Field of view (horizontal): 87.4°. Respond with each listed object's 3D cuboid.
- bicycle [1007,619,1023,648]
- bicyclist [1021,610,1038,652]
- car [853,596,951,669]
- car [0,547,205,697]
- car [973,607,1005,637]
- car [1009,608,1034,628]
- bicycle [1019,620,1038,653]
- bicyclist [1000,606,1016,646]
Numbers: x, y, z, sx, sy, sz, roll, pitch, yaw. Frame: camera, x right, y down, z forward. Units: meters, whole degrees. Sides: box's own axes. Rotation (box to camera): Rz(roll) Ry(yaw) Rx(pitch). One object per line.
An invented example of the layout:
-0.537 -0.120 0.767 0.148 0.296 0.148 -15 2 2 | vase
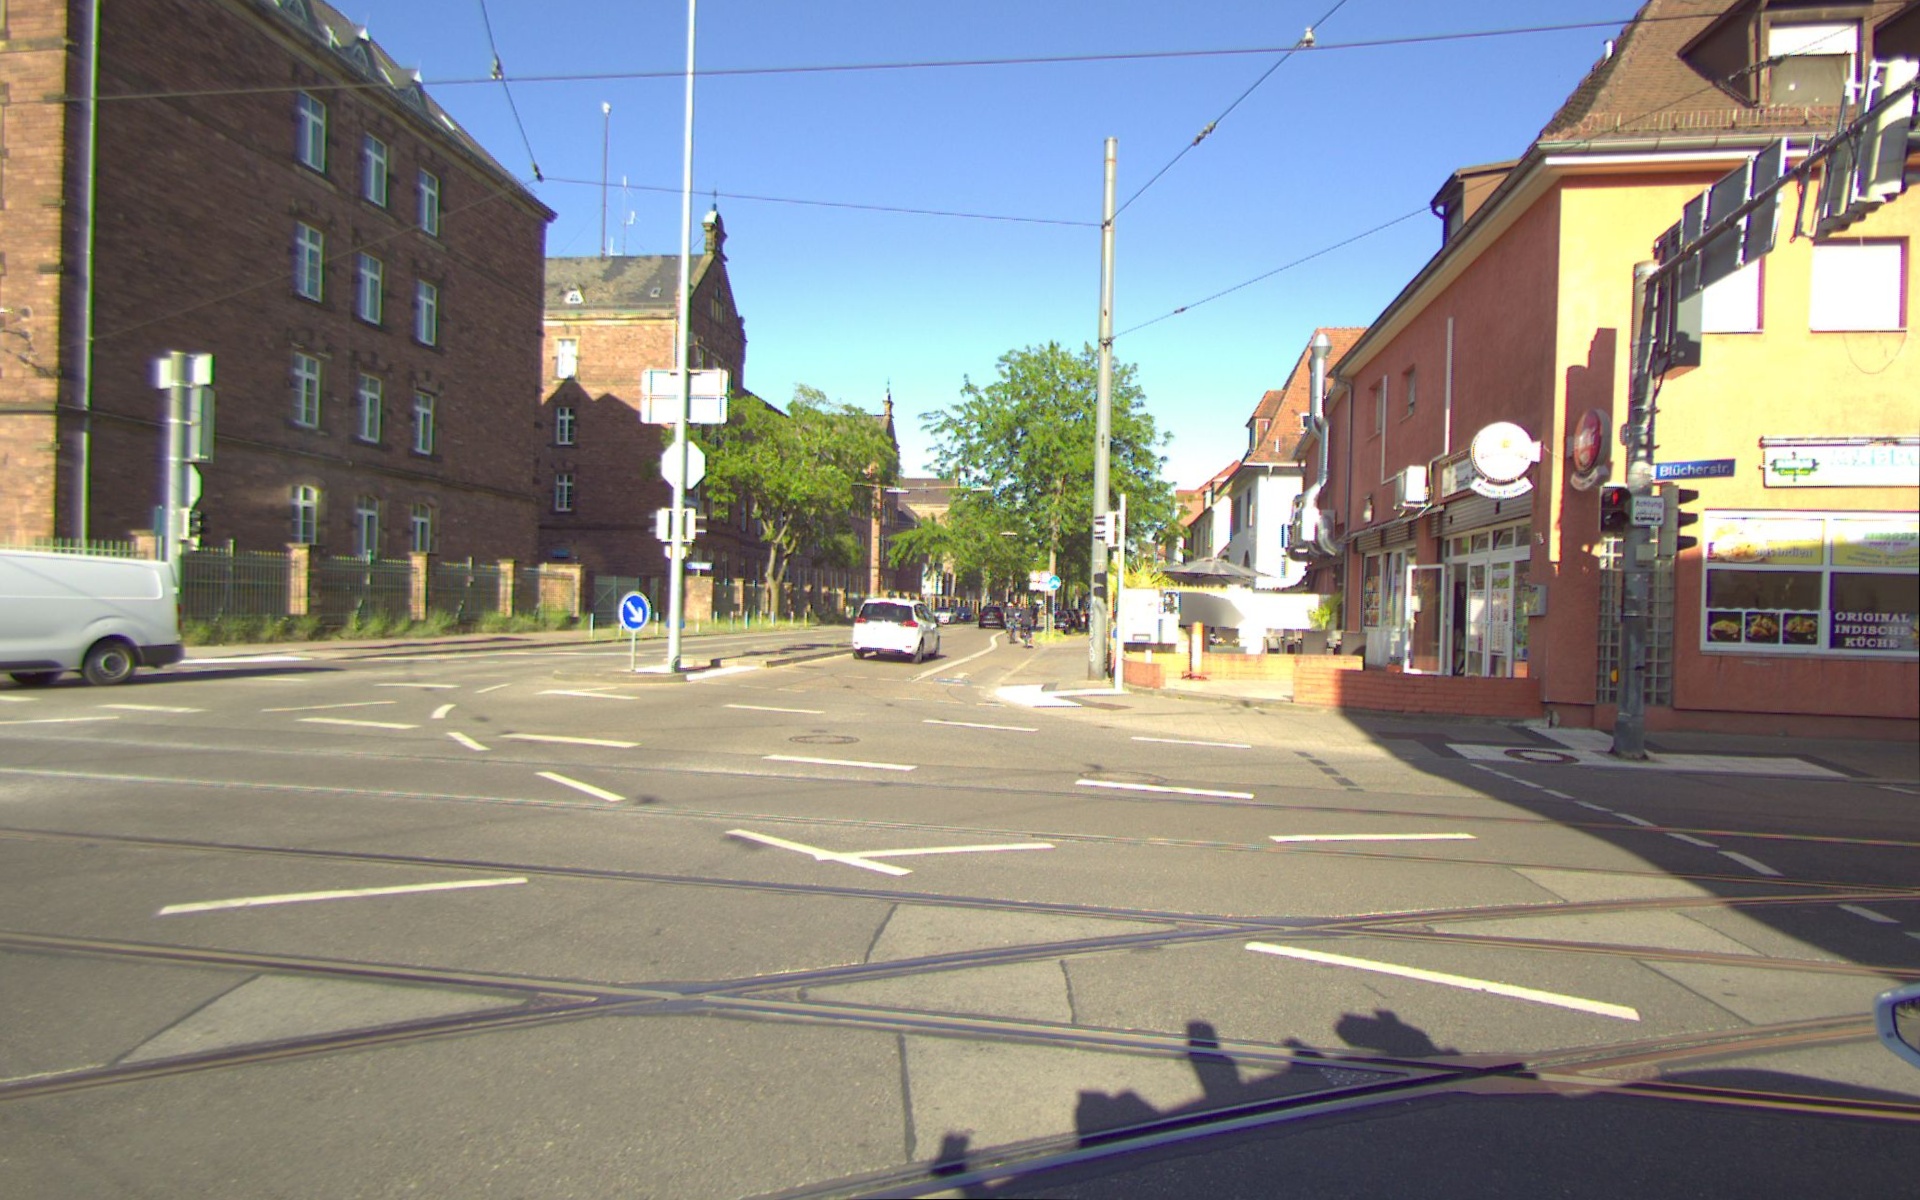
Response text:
2.420 1.445 44.162 0.463 1.205 1.997 2 0 8 | bicycle
2.755 1.221 39.869 0.544 1.639 0.686 2 1 8 | bicyclist
-1.489 0.820 27.553 1.930 1.687 4.251 4 1 6 | car
-13.554 0.274 13.391 2.122 1.954 5.303 1 -1 18 | car
2.087 1.543 71.068 1.958 1.874 4.251 4 1 4 | car
6.045 1.721 97.946 1.958 1.687 4.126 4 1 9 | car
2.689 1.428 39.459 0.548 1.205 1.997 2 0 8 | bicycle
2.122 1.140 44.249 0.598 1.678 0.795 2 1 7 | bicyclist
